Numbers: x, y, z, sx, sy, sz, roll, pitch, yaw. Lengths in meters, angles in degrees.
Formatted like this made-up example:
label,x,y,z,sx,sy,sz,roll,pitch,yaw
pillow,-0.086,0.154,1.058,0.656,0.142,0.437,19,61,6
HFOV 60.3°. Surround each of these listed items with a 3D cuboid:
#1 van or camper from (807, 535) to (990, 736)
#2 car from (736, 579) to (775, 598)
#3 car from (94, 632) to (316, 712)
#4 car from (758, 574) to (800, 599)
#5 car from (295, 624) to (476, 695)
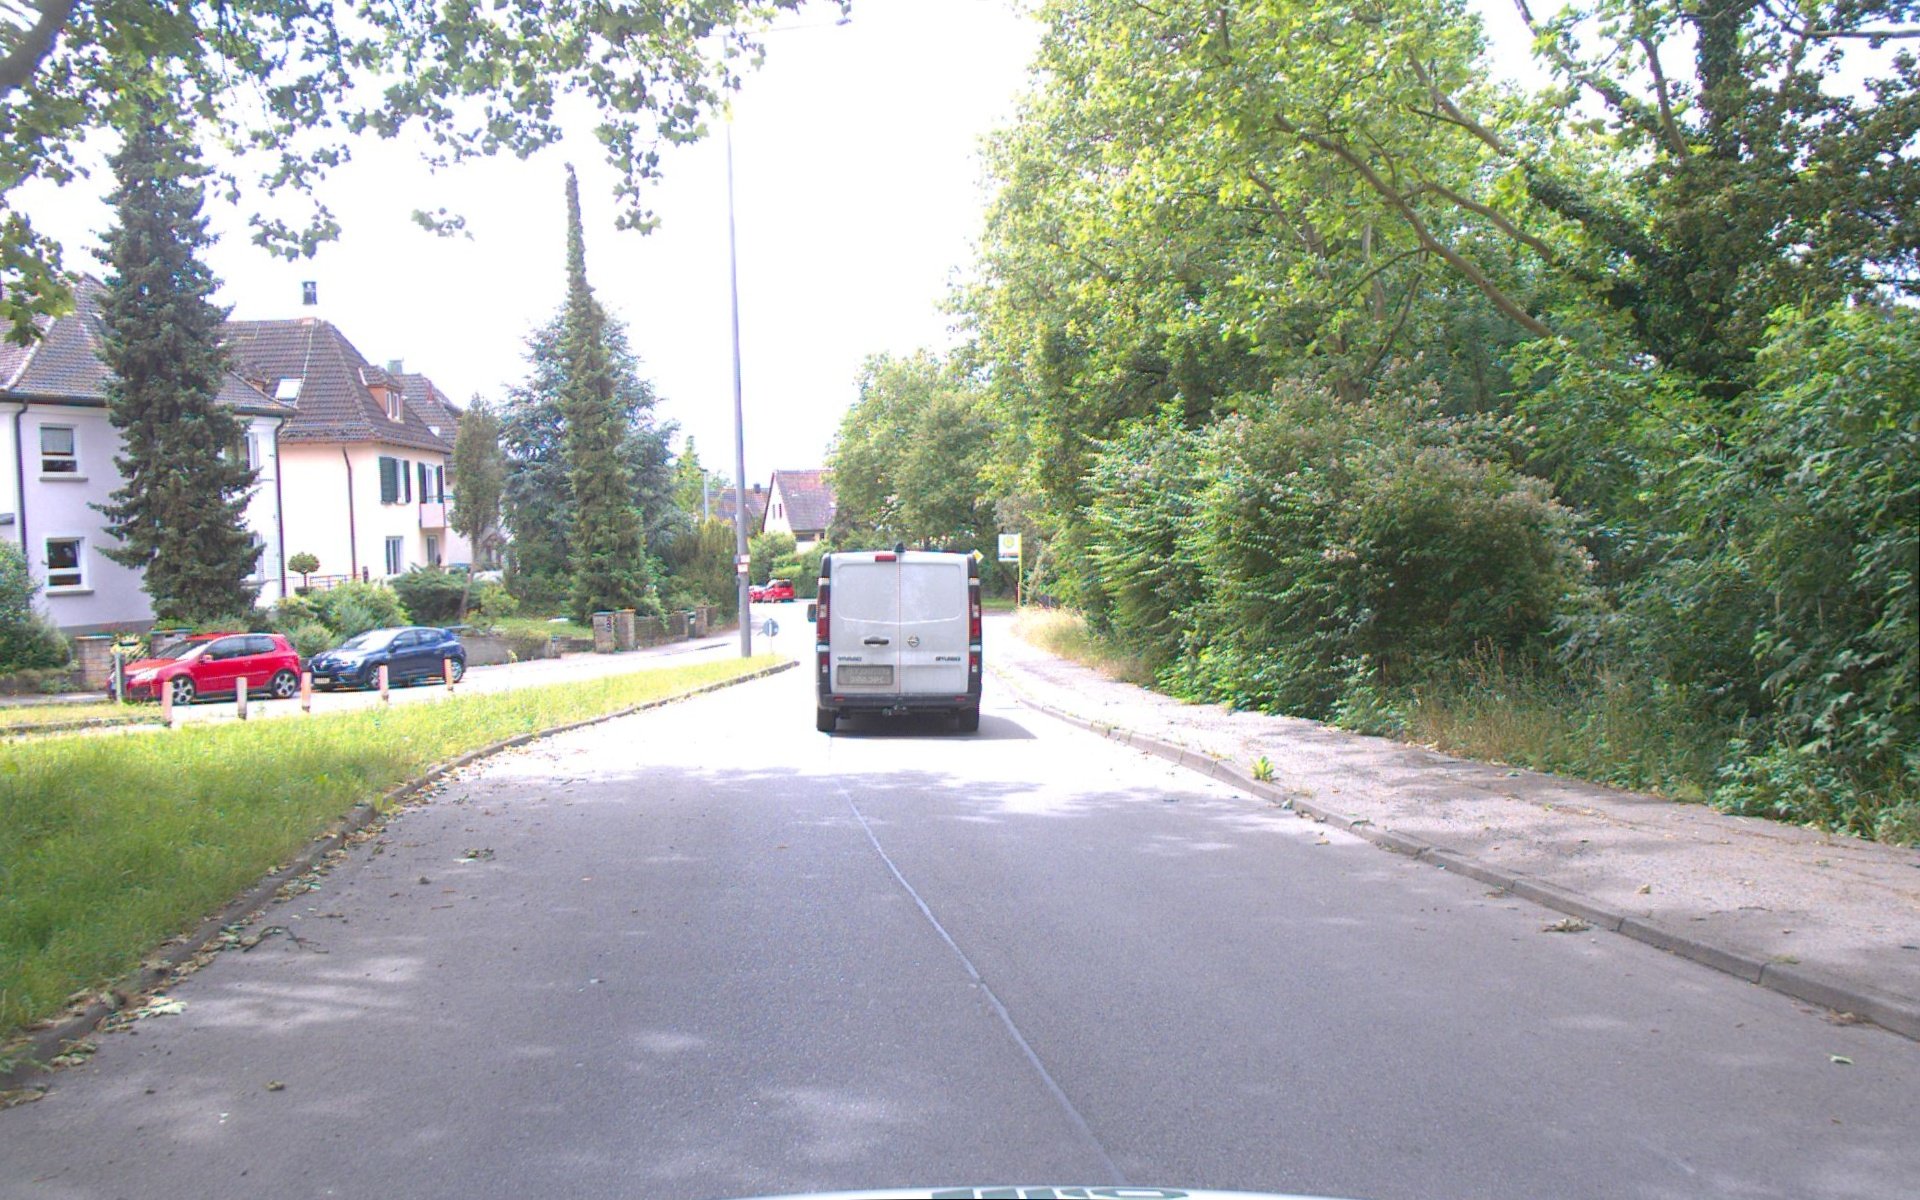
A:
label,x,y,z,sx,sy,sz,roll,pitch,yaw
van or camper,-0.769,0.275,19.797,1.886,2.048,4.827,-1,3,-3
car,-16.644,-0.923,134.724,1.694,1.493,4.227,-3,1,-28
car,-16.552,1.546,36.464,1.694,1.499,4.271,-1,0,29
car,-14.276,-1.042,130.170,1.738,1.828,4.910,-3,1,-25
car,-14.081,1.432,40.819,1.692,1.499,4.312,-2,0,25
